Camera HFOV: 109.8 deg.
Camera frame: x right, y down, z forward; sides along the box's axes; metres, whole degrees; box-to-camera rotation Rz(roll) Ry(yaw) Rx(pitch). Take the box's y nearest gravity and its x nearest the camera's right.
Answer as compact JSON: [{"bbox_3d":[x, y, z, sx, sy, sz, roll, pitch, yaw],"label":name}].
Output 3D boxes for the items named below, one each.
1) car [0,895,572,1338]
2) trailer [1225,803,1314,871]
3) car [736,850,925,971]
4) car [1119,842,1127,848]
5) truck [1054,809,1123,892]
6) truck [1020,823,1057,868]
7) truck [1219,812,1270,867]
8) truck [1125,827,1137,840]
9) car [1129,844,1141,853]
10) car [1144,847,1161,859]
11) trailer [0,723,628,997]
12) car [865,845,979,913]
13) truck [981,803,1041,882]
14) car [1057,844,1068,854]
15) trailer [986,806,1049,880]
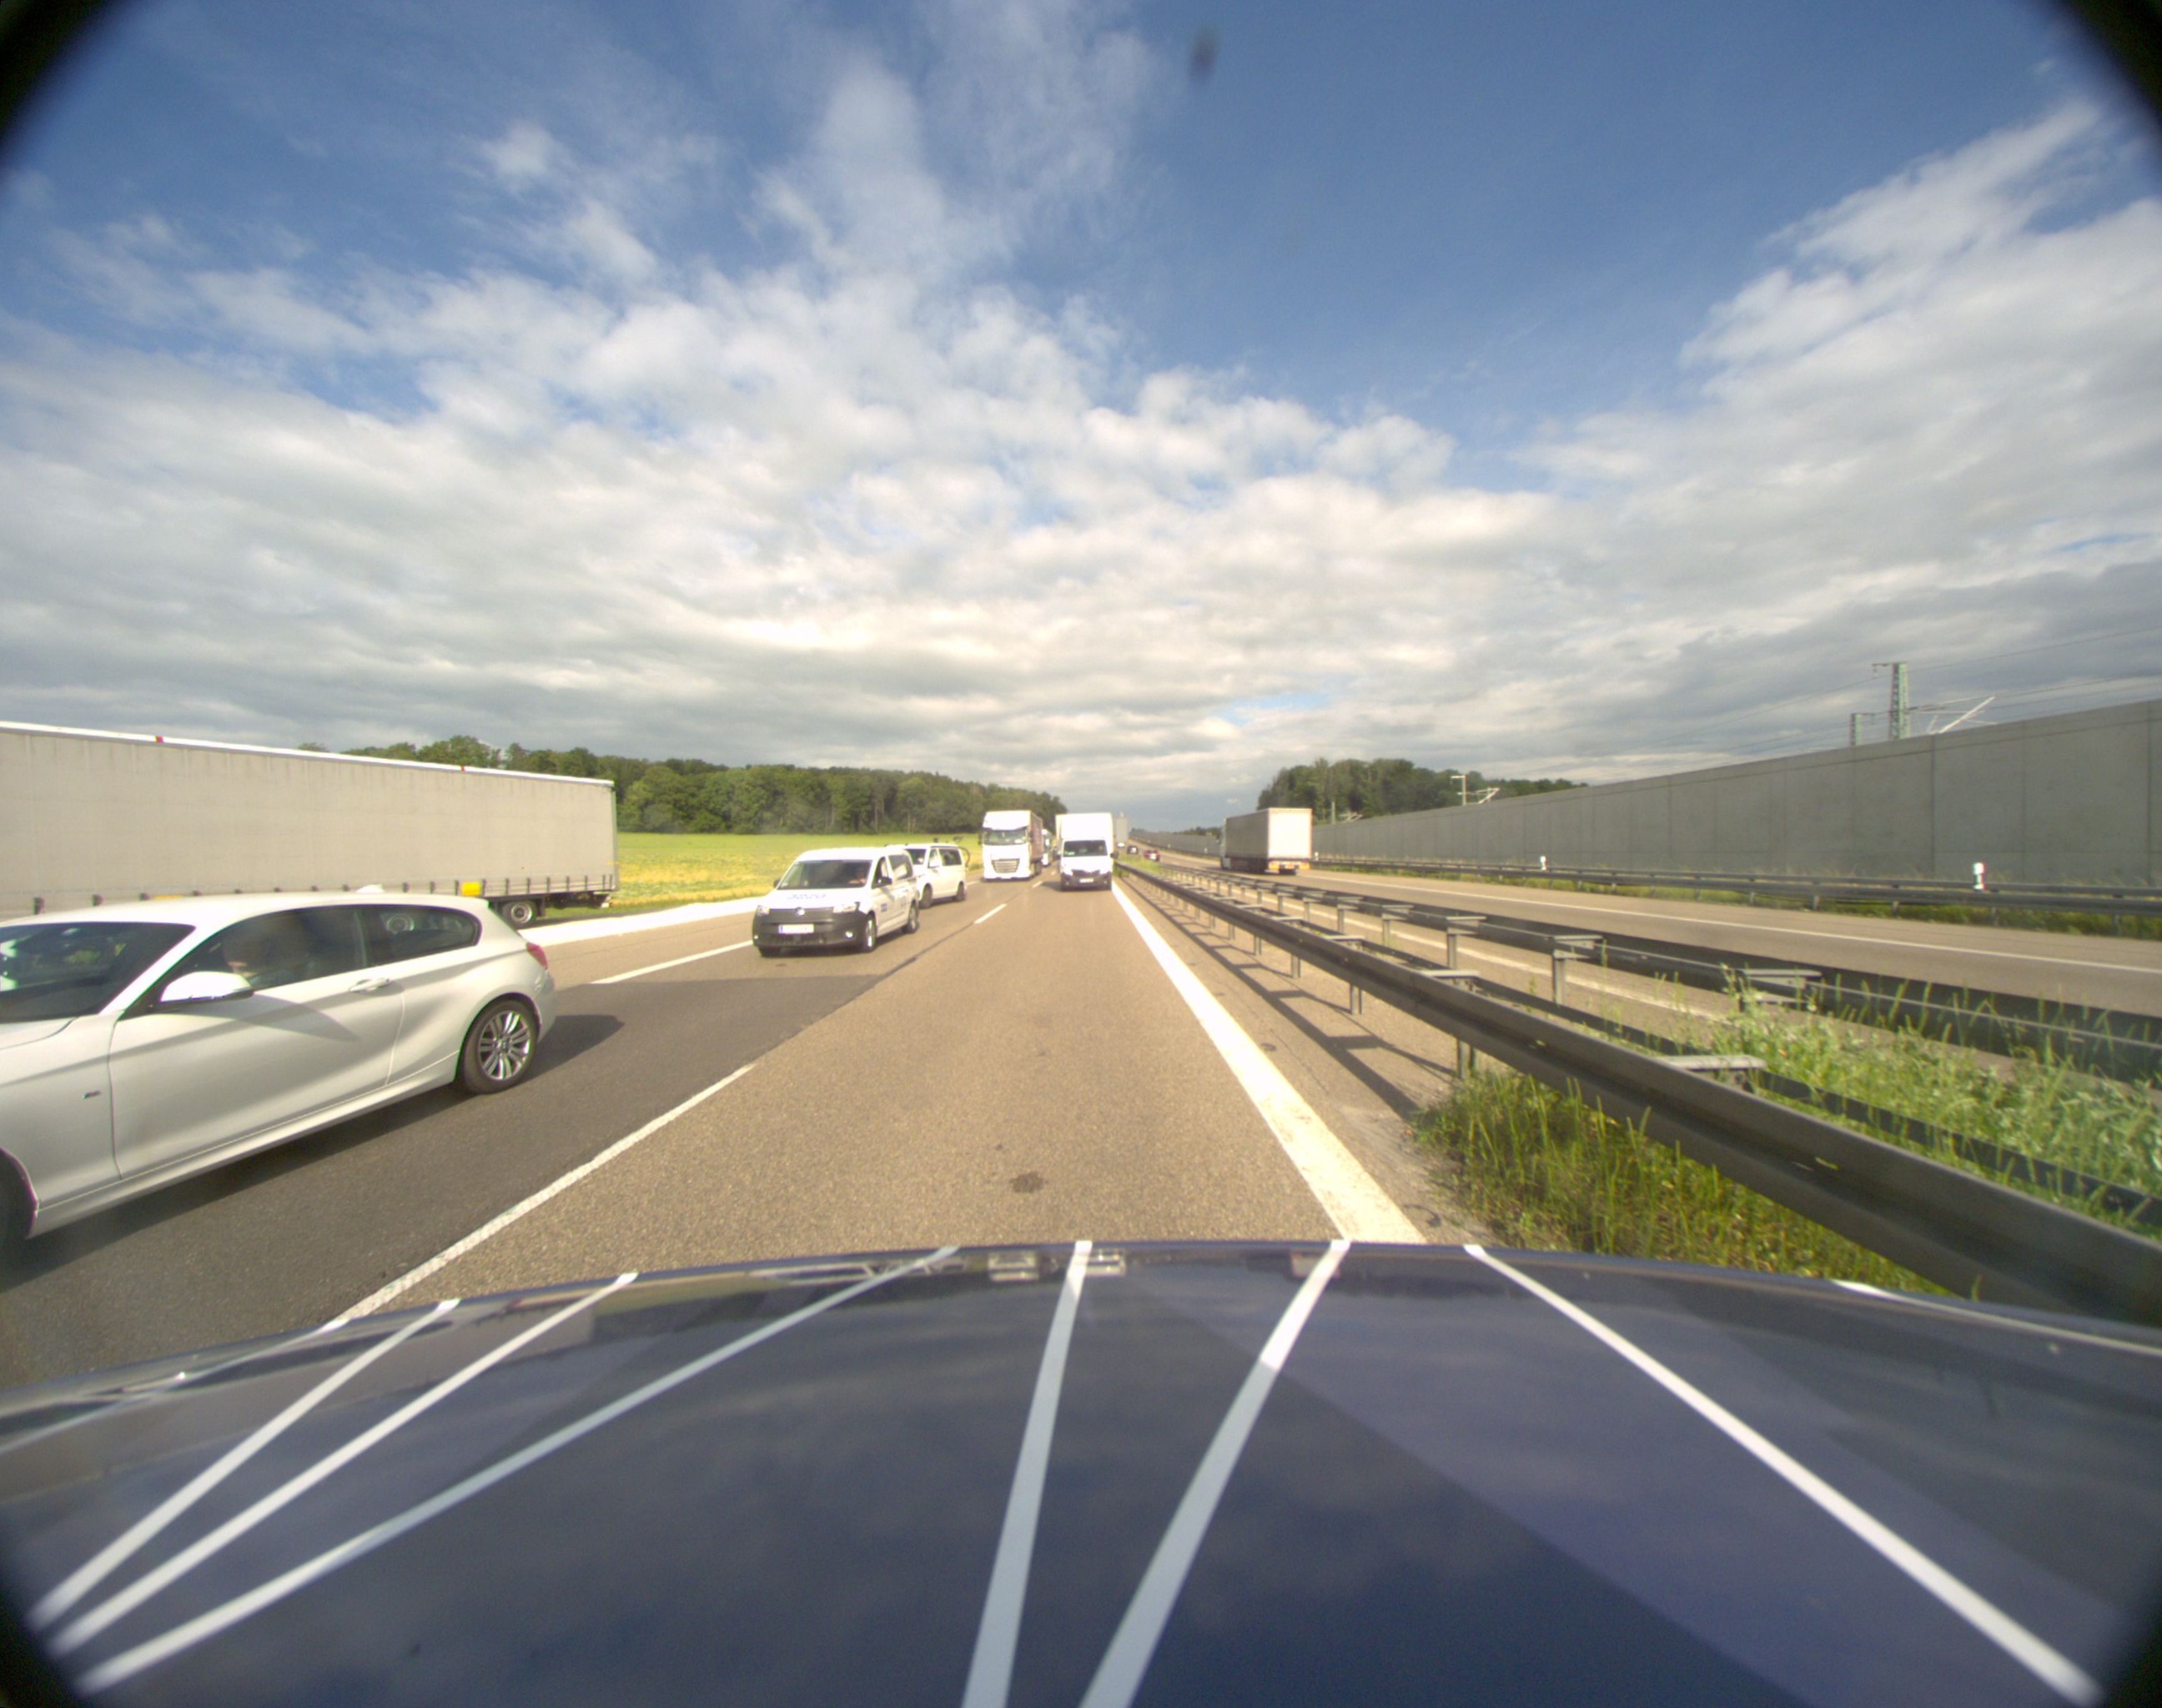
[{"bbox_3d":[-4.803,1.070,3.727,1.708,1.424,4.231,-2,0,0],"label":"car"},{"bbox_3d":[12.502,-1.029,51.939,2.690,4.014,13.790,-1,0,0],"label":"trailer"},{"bbox_3d":[-4.265,0.836,13.806,1.729,1.746,4.702,-3,0,1],"label":"car"},{"bbox_3d":[10.142,-2.194,183.020,1.721,1.454,4.449,-1,0,0],"label":"car"},{"bbox_3d":[0.306,-0.167,34.862,2.500,3.082,12.037,-2,0,0],"label":"truck"},{"bbox_3d":[-4.110,-0.850,76.342,2.946,4.094,12.523,-1,0,0],"label":"truck"},{"bbox_3d":[12.545,-1.088,58.827,2.692,4.045,5.878,-1,1,0],"label":"truck"},{"bbox_3d":[16.776,-6.924,255.724,2.952,4.037,11.745,-2,1,0],"label":"truck"},{"bbox_3d":[9.458,-0.914,132.652,1.720,1.586,4.449,-1,0,1],"label":"car"},{"bbox_3d":[8.435,-0.109,89.461,1.637,1.393,3.896,-1,0,0],"label":"car"},{"bbox_3d":[-16.504,0.083,15.894,2.739,4.136,13.843,-2,0,16],"label":"trailer"},{"bbox_3d":[-4.958,0.694,24.552,1.798,1.914,5.270,-2,0,8],"label":"car"},{"bbox_3d":[-3.943,-0.678,44.103,2.736,4.150,5.766,-2,1,0],"label":"truck"},{"bbox_3d":[-3.441,-0.997,139.459,1.707,1.746,4.676,-3,0,1],"label":"car"},{"bbox_3d":[-3.915,-0.791,50.429,2.742,4.137,14.016,-2,1,0],"label":"trailer"}]
